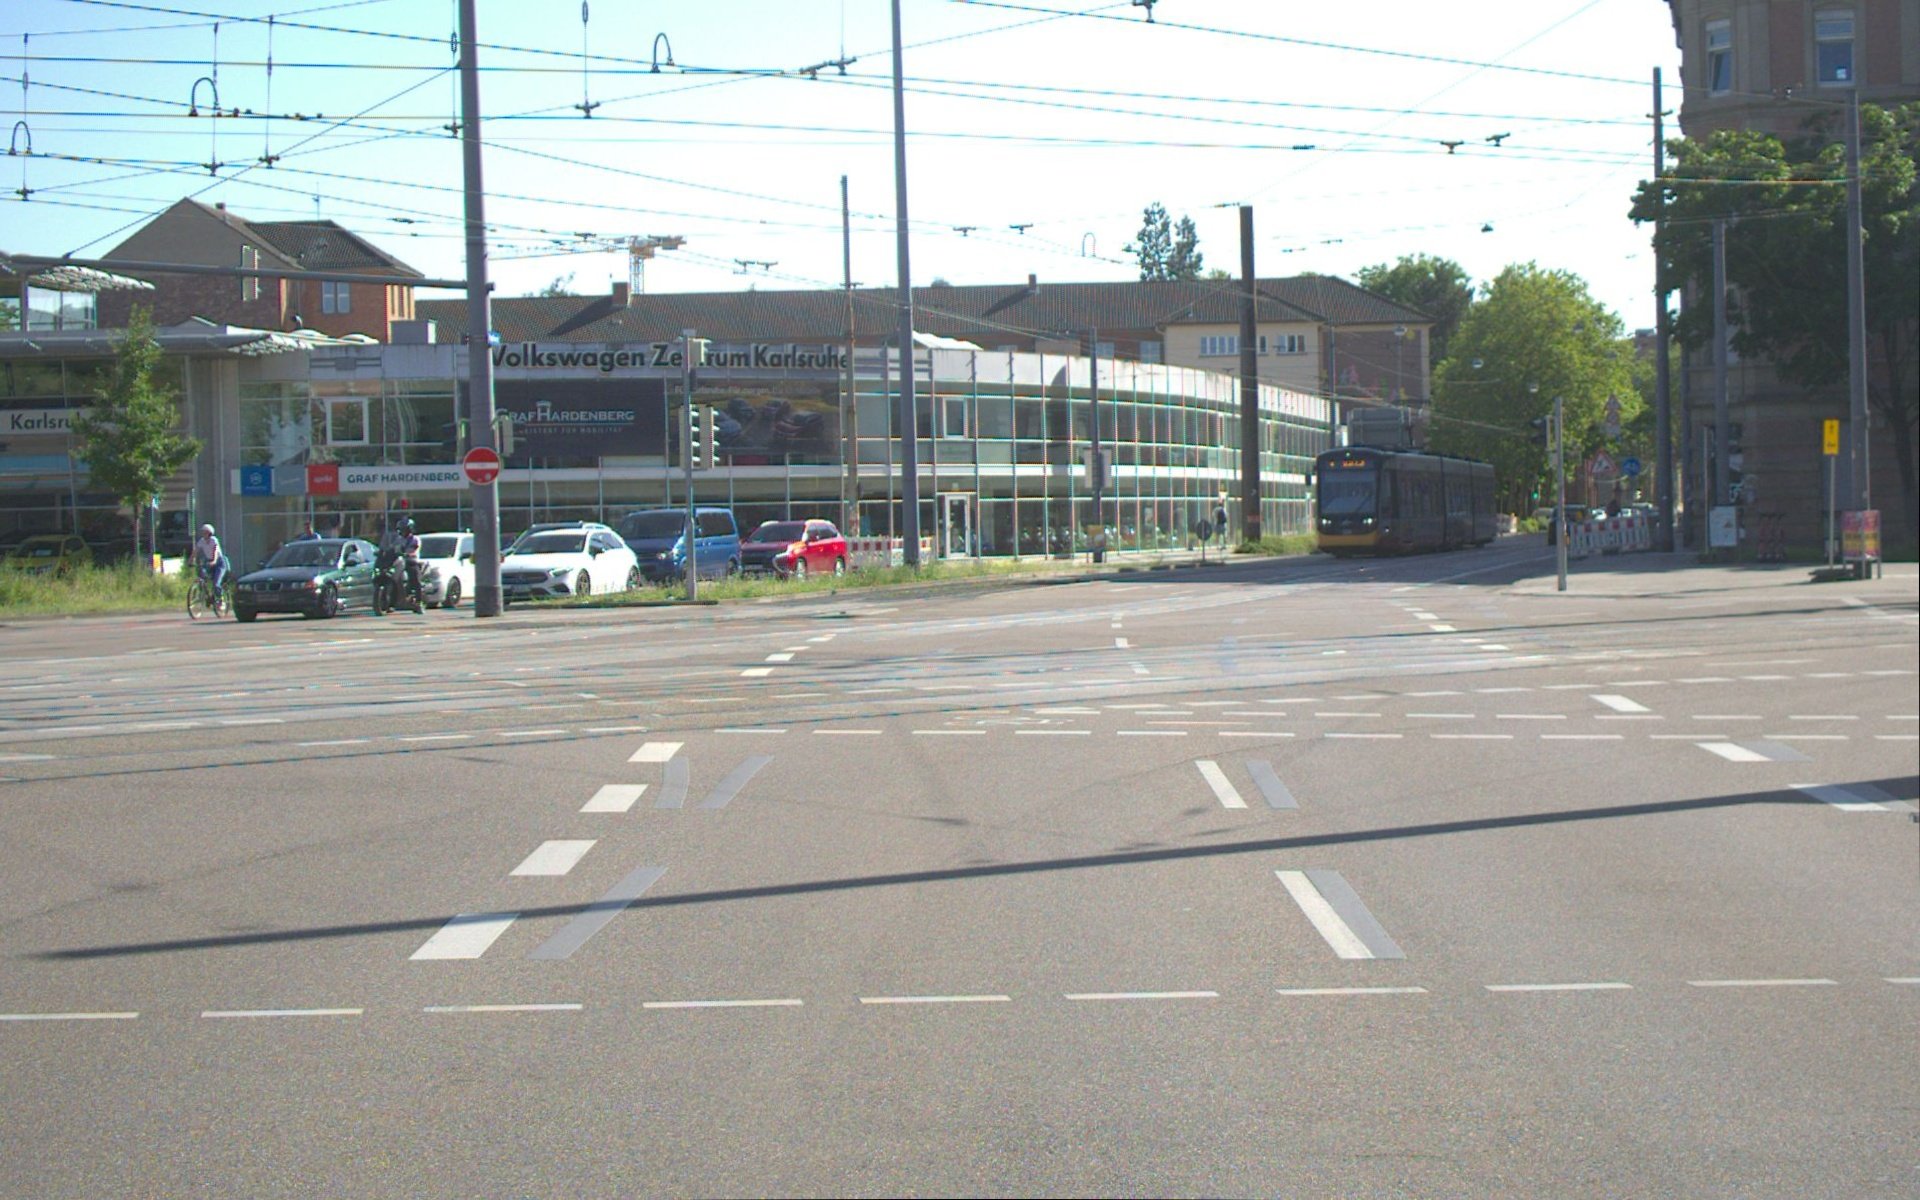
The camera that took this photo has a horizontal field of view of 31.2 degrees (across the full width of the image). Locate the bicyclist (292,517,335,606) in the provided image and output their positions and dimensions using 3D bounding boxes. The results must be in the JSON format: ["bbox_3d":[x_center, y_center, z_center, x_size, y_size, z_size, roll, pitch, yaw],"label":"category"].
[{"bbox_3d":[-12.465,-0.748,66.280,0.569,1.708,0.648,-1,1,12],"label":"bicyclist"}]

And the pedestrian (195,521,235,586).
[{"bbox_3d":[-13.891,-0.867,64.132,0.423,1.200,0.680,-1,1,18],"label":"pedestrian"}]

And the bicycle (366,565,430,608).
[{"bbox_3d":[-9.830,-0.245,60.218,0.423,0.715,1.633,-1,1,17],"label":"bicycle"}]

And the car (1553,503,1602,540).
[{"bbox_3d":[26.122,-3.332,145.412,1.700,1.497,4.262,-1,1,14],"label":"car"}]

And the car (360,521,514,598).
[{"bbox_3d":[-10.123,-0.804,66.824,1.627,1.419,3.683,-1,1,14],"label":"car"}]

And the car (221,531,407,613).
[{"bbox_3d":[-11.392,-0.509,60.873,1.705,1.349,3.698,-1,1,17],"label":"car"}]

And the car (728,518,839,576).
[{"bbox_3d":[-4.400,-1.342,86.081,1.627,1.359,3.683,-1,1,16],"label":"car"}]

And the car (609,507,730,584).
[{"bbox_3d":[-6.648,-1.271,78.954,1.627,1.686,3.683,-1,1,14],"label":"car"}]

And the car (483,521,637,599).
[{"bbox_3d":[-7.524,-0.770,64.942,1.627,1.377,3.735,-1,1,14],"label":"car"}]

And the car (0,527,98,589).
[{"bbox_3d":[-26.536,-1.234,99.872,1.966,1.700,4.084,-1,1,-1],"label":"car"}]

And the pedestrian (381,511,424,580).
[{"bbox_3d":[-9.788,-0.955,60.376,0.423,1.200,0.749,-1,1,17],"label":"pedestrian"}]

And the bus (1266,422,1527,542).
[{"bbox_3d":[15.421,-3.862,118.150,3.840,3.595,24.843,1,1,19],"label":"bus"}]

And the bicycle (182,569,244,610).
[{"bbox_3d":[-13.908,-0.201,64.054,0.423,0.715,1.474,-1,1,18],"label":"bicycle"}]

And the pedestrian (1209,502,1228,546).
[{"bbox_3d":[10.030,-2.955,133.301,0.543,1.683,0.629,-1,1,20],"label":"pedestrian"}]
